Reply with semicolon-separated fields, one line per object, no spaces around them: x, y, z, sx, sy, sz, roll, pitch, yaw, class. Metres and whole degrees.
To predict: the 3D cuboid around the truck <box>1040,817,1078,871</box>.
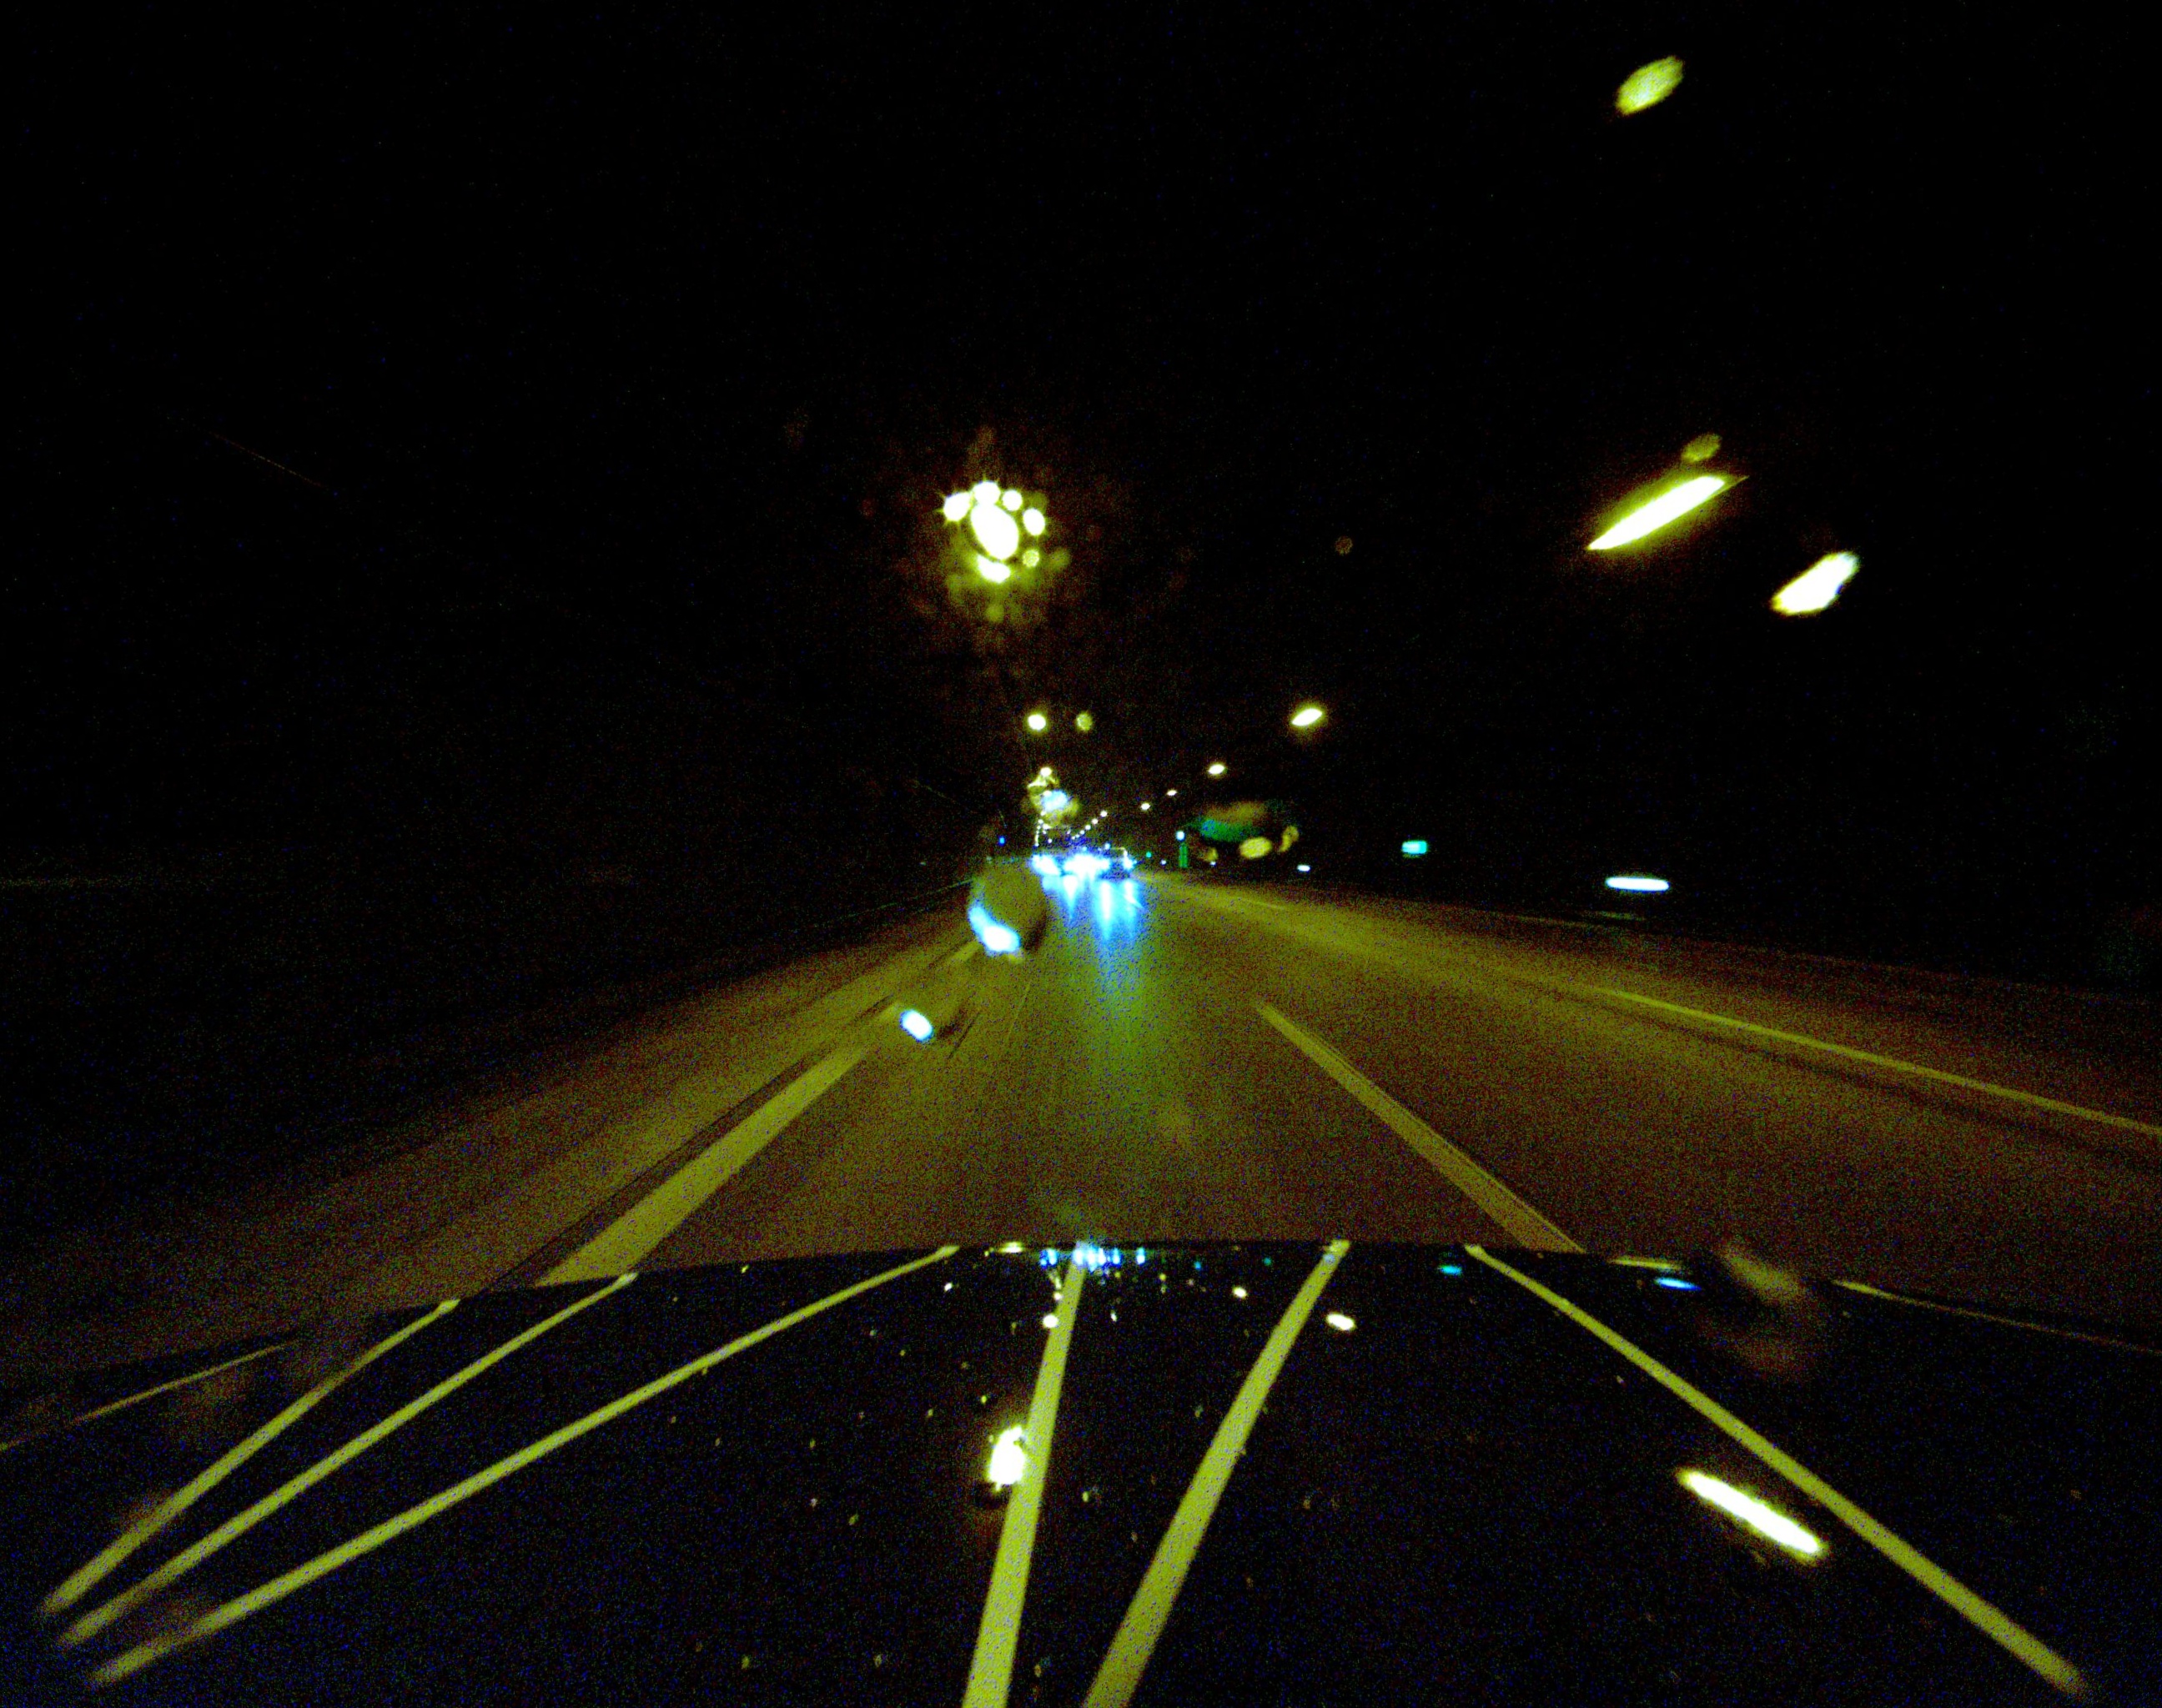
-1.900;-0.778;62.404;2.654;4.139;6.001;2;1;-5;truck

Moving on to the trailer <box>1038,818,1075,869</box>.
-2.385;-0.876;68.736;2.628;4.139;13.994;1;0;-4;trailer

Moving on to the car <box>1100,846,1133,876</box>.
2.359;0.443;50.840;1.998;1.890;4.000;-2;1;2;car

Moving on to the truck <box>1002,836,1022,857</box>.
-13.523;-1.454;149.233;2.900;3.819;8.997;1;1;2;truck

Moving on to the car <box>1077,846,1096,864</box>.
0.593;0.067;83.813;1.999;1.890;3.999;-2;1;-1;car
